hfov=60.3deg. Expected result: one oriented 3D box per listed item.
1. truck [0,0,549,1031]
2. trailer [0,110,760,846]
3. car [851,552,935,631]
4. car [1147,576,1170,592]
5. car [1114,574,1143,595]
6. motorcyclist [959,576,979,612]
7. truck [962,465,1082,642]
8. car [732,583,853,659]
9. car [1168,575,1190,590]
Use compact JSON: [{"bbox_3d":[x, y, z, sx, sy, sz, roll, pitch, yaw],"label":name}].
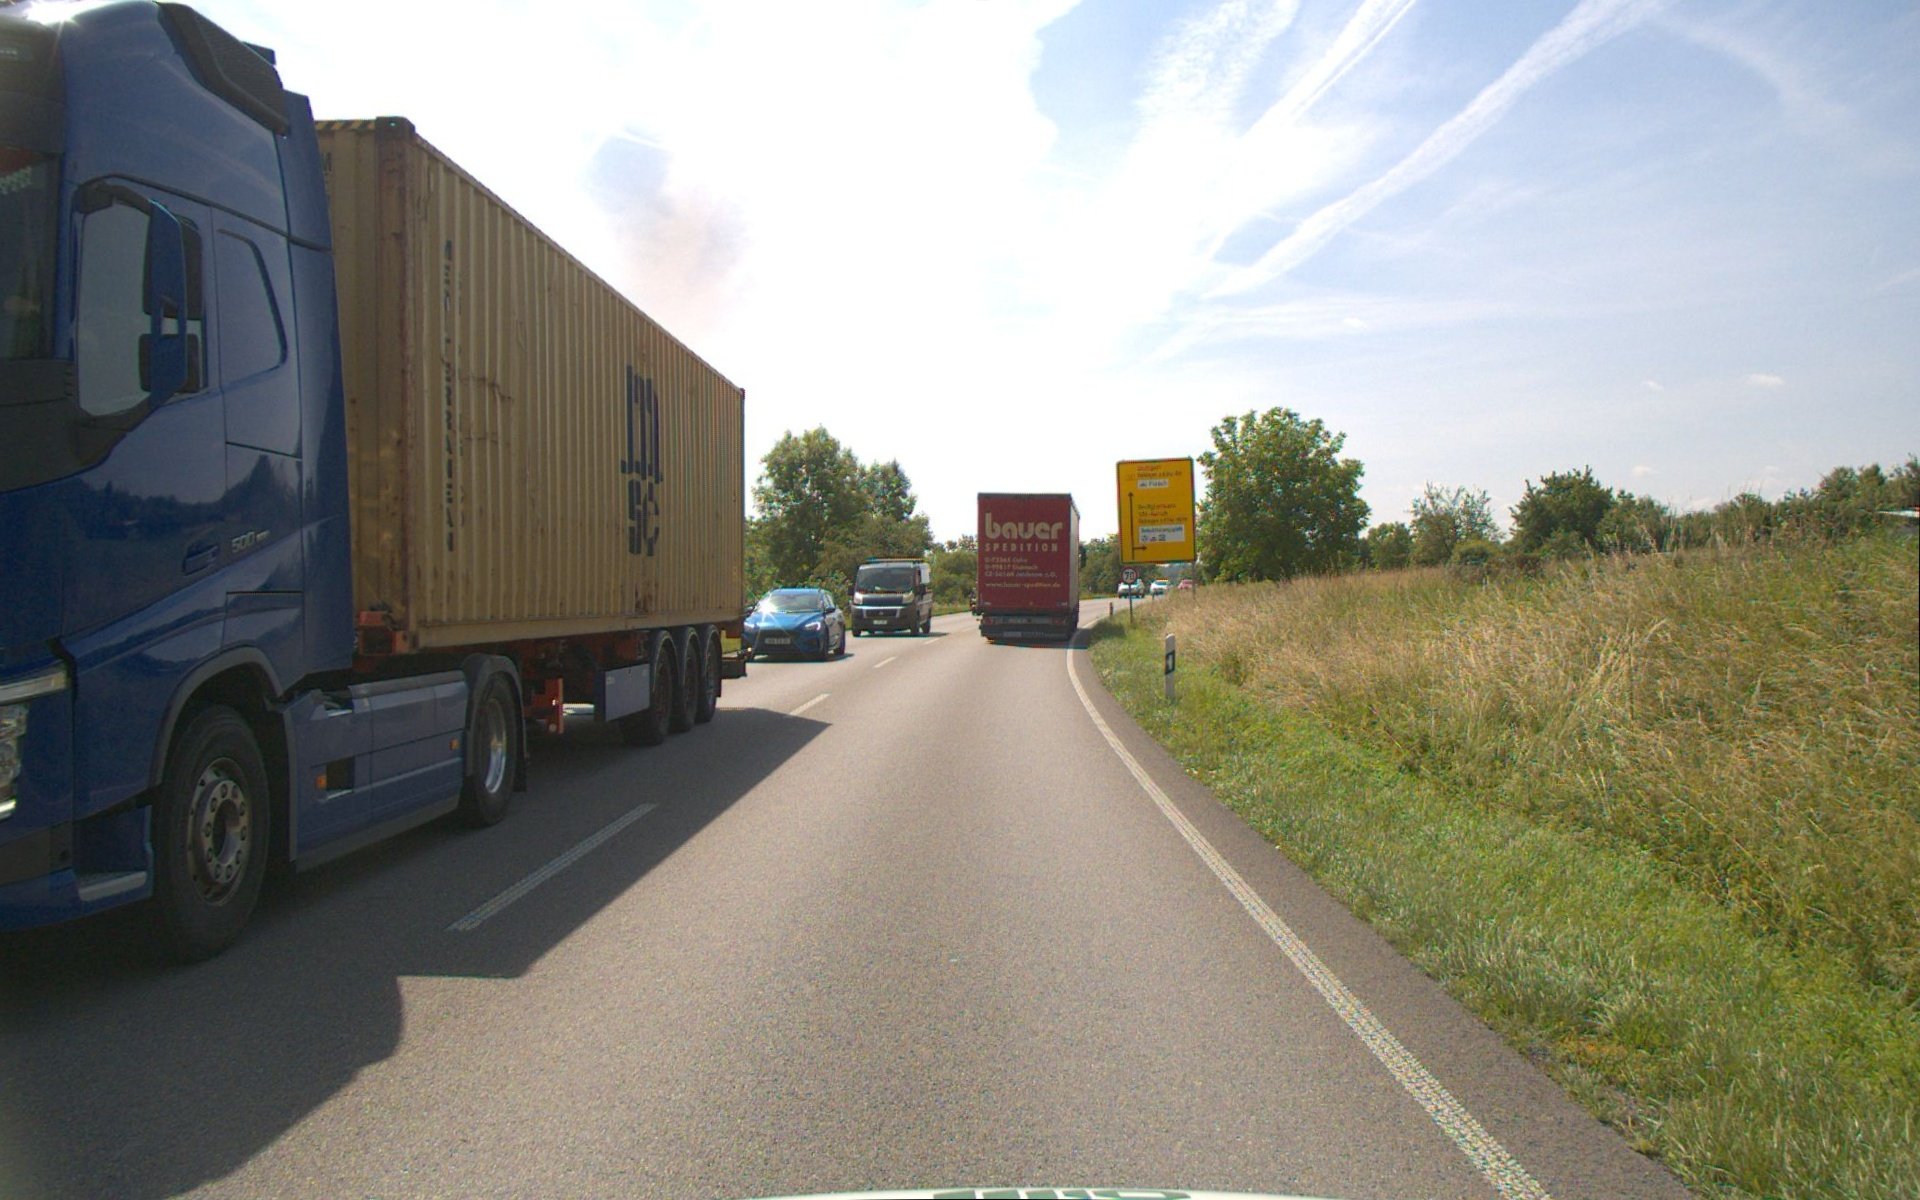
[{"bbox_3d":[-4.263,-0.688,8.367,2.749,4.138,5.986,0,0,1],"label":"truck"},{"bbox_3d":[-4.263,-0.743,15.727,2.935,4.114,12.919,0,0,1],"label":"trailer"},{"bbox_3d":[-2.023,-0.278,51.388,2.125,2.343,4.909,0,1,4],"label":"car"},{"bbox_3d":[18.907,-1.498,157.311,1.713,1.438,3.776,-1,1,14],"label":"car"},{"bbox_3d":[14.479,-1.326,141.840,1.794,1.645,4.366,-4,0,14],"label":"car"},{"bbox_3d":[0.452,-0.300,80.189,0.899,1.748,0.963,0,0,4],"label":"motorcyclist"},{"bbox_3d":[2.044,-1.238,49.680,3.047,4.584,12.173,1,0,4],"label":"truck"},{"bbox_3d":[-3.525,0.408,35.529,1.824,1.512,4.361,-1,0,4],"label":"car"},{"bbox_3d":[22.826,-1.848,172.384,1.782,1.422,4.186,-4,0,13],"label":"car"}]
